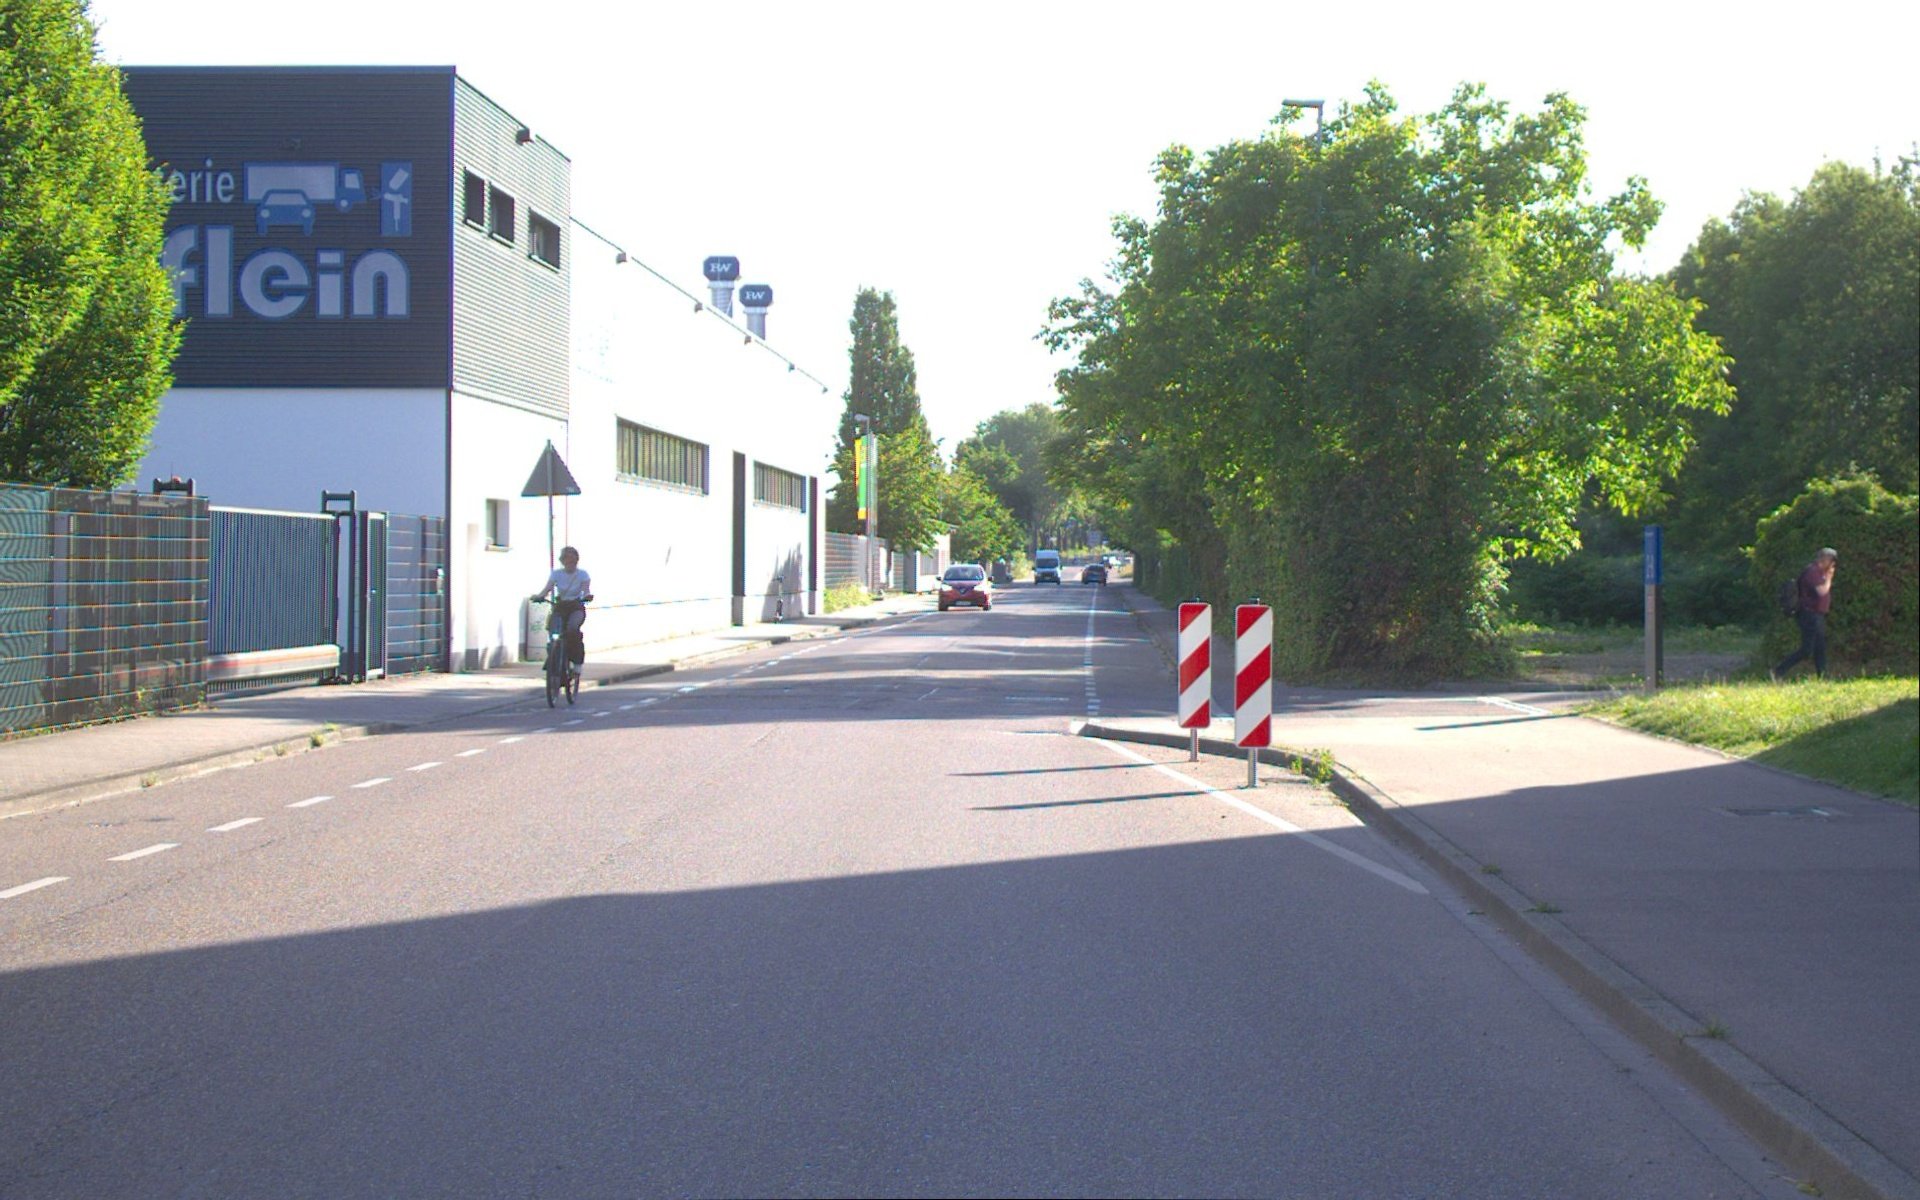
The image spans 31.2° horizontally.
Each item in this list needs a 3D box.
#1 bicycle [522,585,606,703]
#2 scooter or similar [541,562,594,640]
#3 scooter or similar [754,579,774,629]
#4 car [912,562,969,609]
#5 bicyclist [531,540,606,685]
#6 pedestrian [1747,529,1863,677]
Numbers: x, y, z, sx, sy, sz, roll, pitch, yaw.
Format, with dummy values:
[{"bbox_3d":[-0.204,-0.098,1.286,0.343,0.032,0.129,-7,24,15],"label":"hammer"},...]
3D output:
[{"bbox_3d":[-4.475,0.479,38.962,0.667,1.284,2.172,0,1,1],"label":"bicycle"},{"bbox_3d":[-6.275,0.014,55.035,0.507,1.199,1.753,3,1,3],"label":"scooter or similar"},{"bbox_3d":[-5.067,0.096,88.760,0.416,1.263,1.059,0,1,2],"label":"scooter or similar"},{"bbox_3d":[-0.646,-0.508,117.136,1.817,1.484,4.000,-3,1,1],"label":"car"},{"bbox_3d":[-4.427,0.131,38.895,0.746,1.622,0.833,0,1,1],"label":"bicyclist"},{"bbox_3d":[10.595,0.032,43.129,1.152,1.786,0.896,-3,1,-1],"label":"pedestrian"}]
